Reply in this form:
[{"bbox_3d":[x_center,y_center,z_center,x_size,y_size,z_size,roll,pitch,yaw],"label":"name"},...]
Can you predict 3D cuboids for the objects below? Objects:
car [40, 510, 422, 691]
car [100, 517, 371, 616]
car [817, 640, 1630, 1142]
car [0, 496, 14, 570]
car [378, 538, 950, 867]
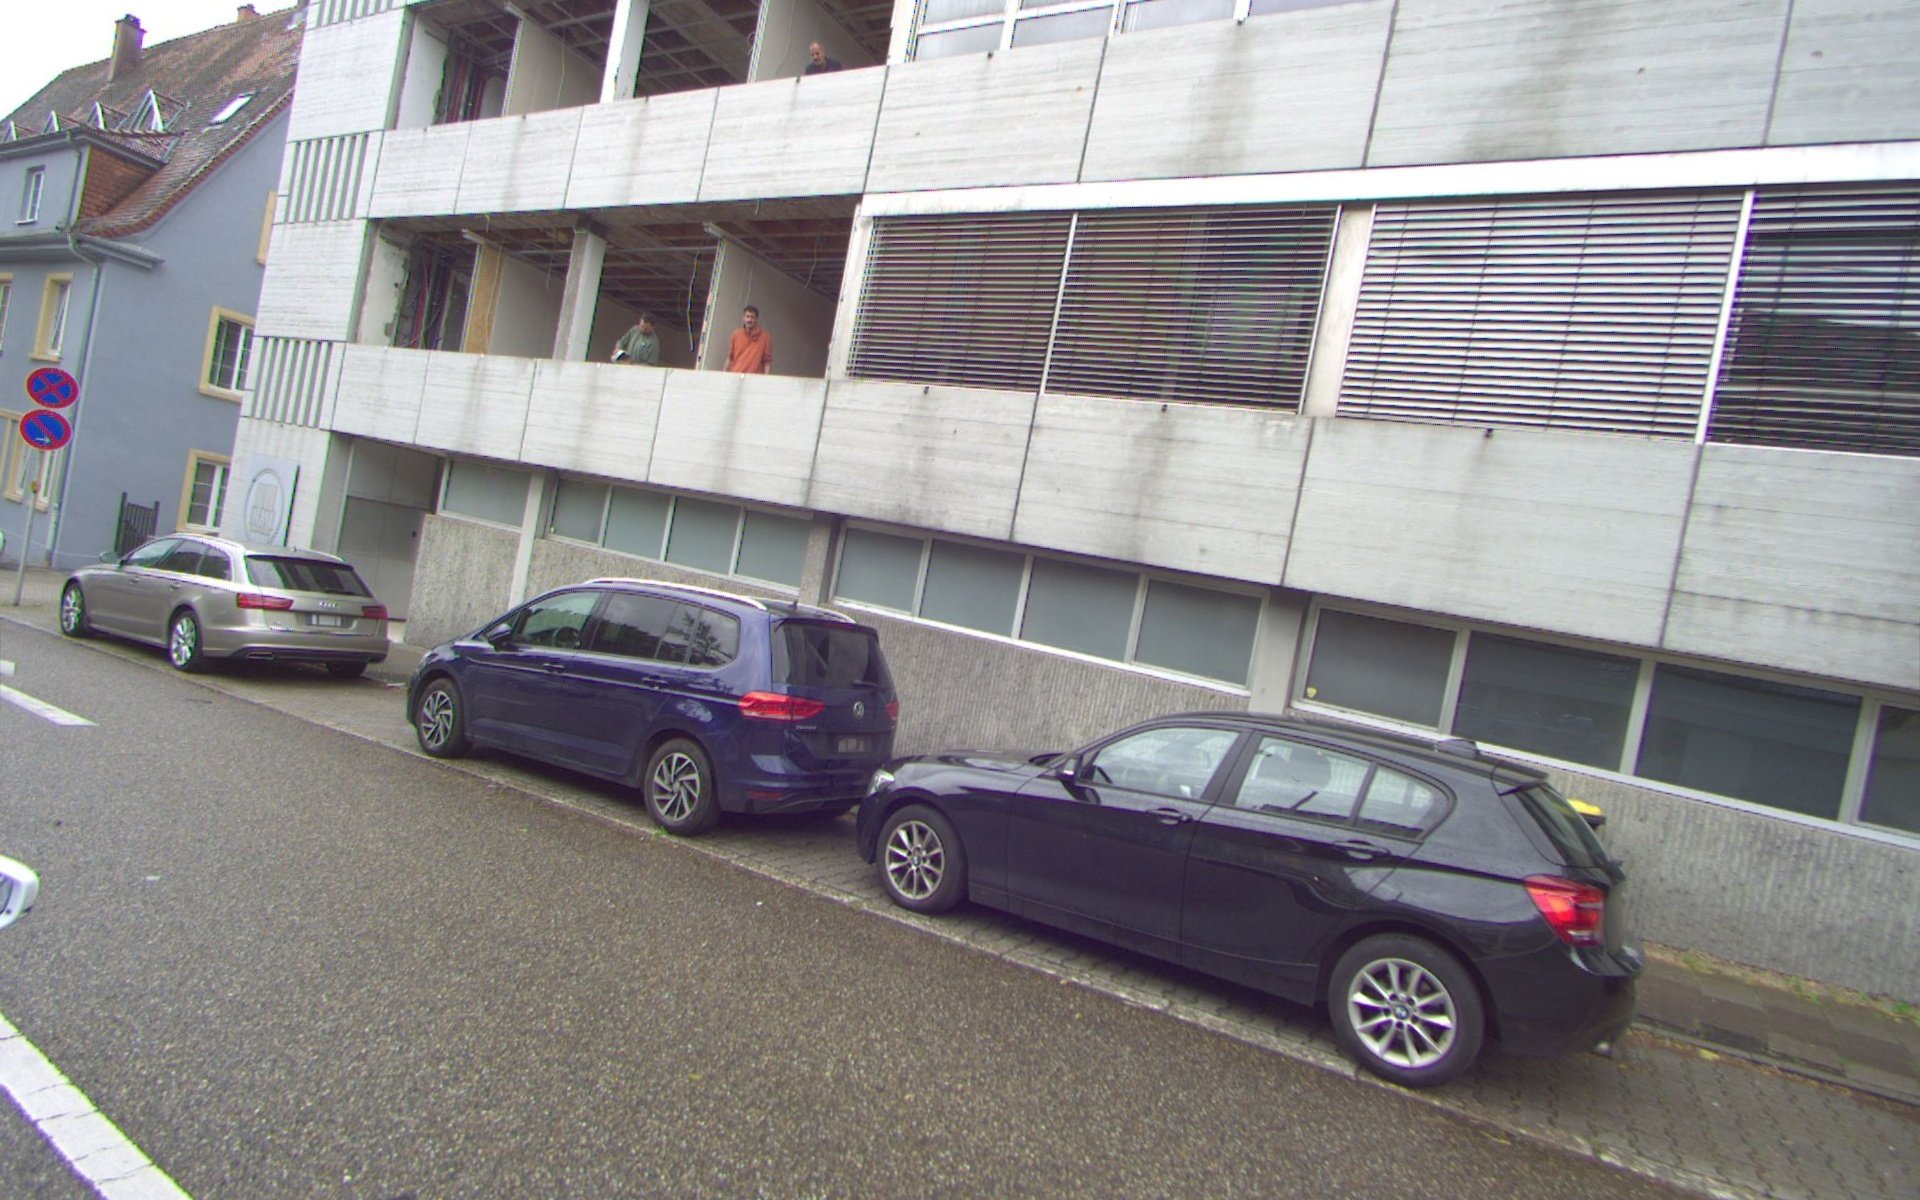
[{"bbox_3d":[-8.778,-0.028,12.021,4.661,1.476,1.819,7,-2,30],"label":"car"},{"bbox_3d":[-14.753,-0.592,20.860,1.774,1.423,4.374,8,-2,12],"label":"car"},{"bbox_3d":[1.327,1.258,5.756,4.032,1.461,1.708,7,-1,35],"label":"car"},{"bbox_3d":[-20.638,-1.553,19.966,3.396,1.428,1.590,7,-1,28],"label":"car"},{"bbox_3d":[-2.439,0.641,7.948,4.272,1.694,1.748,7,-2,31],"label":"car"}]
